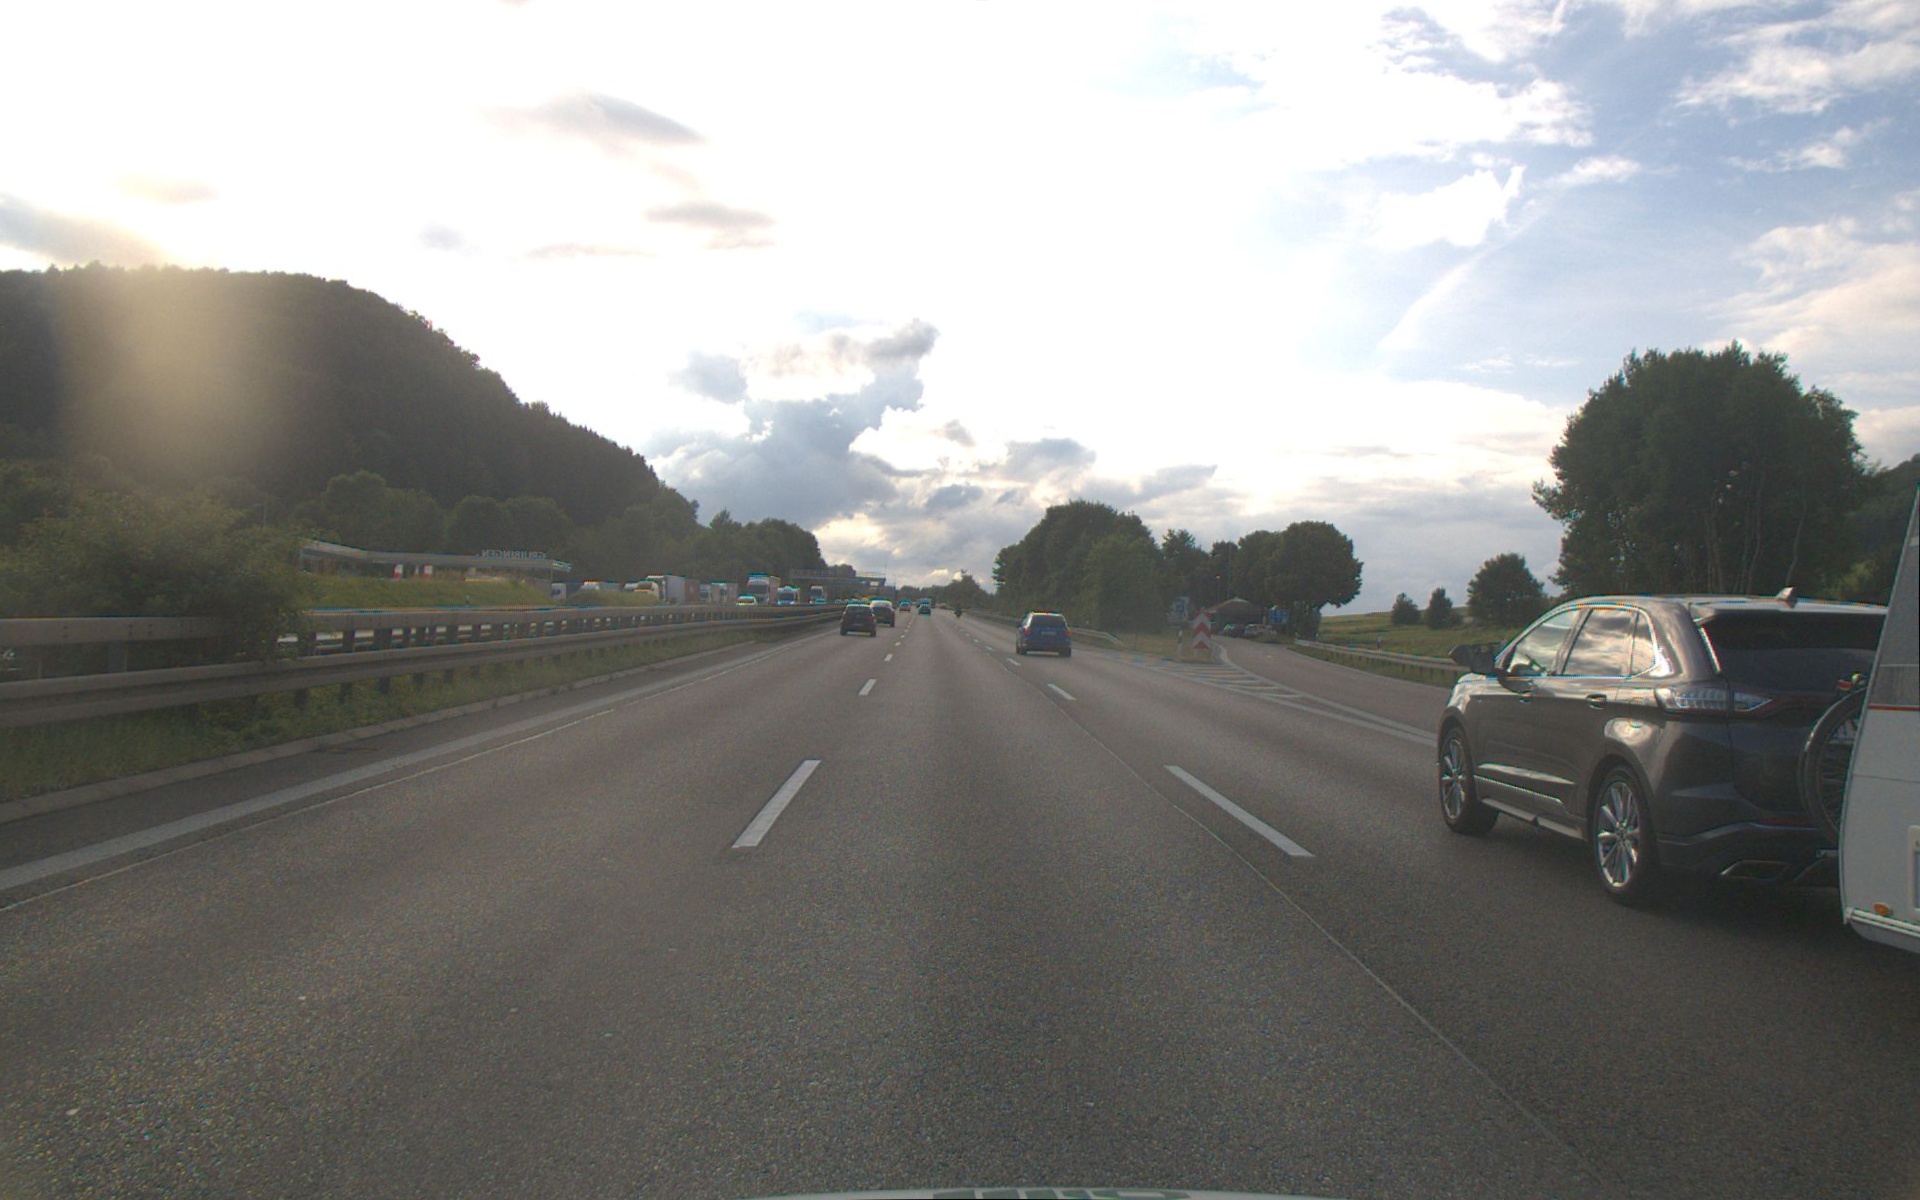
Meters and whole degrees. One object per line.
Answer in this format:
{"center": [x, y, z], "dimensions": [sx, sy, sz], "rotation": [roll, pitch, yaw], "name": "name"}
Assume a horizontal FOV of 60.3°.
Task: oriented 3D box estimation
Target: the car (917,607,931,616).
{"center": [-5.161, 1.659, 236.895], "dimensions": [1.717, 1.243, 3.995], "rotation": [-2, 0, -6], "name": "car"}

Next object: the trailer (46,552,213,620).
{"center": [-40.888, -0.584, 82.006], "dimensions": [2.526, 2.903, 11.378], "rotation": [1, -2, 0], "name": "trailer"}

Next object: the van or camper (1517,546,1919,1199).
{"center": [4.494, 1.030, 6.536], "dimensions": [2.497, 2.278, 5.325], "rotation": [3, -1, -3], "name": "van or camper"}

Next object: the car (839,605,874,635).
{"center": [-4.958, 0.926, 79.168], "dimensions": [1.508, 1.371, 3.672], "rotation": [-1, 0, -6], "name": "car"}

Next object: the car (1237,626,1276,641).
{"center": [32.376, 3.690, 180.556], "dimensions": [4.272, 1.583, 1.959], "rotation": [3, -2, -42], "name": "car"}

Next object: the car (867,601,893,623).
{"center": [-5.489, 0.807, 113.928], "dimensions": [1.533, 1.404, 4.001], "rotation": [-1, 0, 1], "name": "car"}

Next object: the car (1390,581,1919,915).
{"center": [4.295, 0.762, 10.696], "dimensions": [1.750, 1.681, 4.480], "rotation": [1, 0, -1], "name": "car"}

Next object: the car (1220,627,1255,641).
{"center": [33.162, 4.010, 197.397], "dimensions": [4.272, 1.583, 1.959], "rotation": [3, -2, -42], "name": "car"}

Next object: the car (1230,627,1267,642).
{"center": [32.419, 3.836, 185.858], "dimensions": [4.272, 1.583, 1.959], "rotation": [3, -2, -42], "name": "car"}

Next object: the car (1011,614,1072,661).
{"center": [2.774, 1.255, 56.770], "dimensions": [1.731, 1.458, 3.998], "rotation": [0, 1, -2], "name": "car"}

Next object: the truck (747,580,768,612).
{"center": [-24.124, -0.448, 197.385], "dimensions": [1.954, 3.473, 6.735], "rotation": [1, -2, -3], "name": "truck"}

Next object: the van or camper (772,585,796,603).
{"center": [-19.903, -0.635, 187.083], "dimensions": [2.035, 1.964, 4.345], "rotation": [0, -1, 2], "name": "van or camper"}
